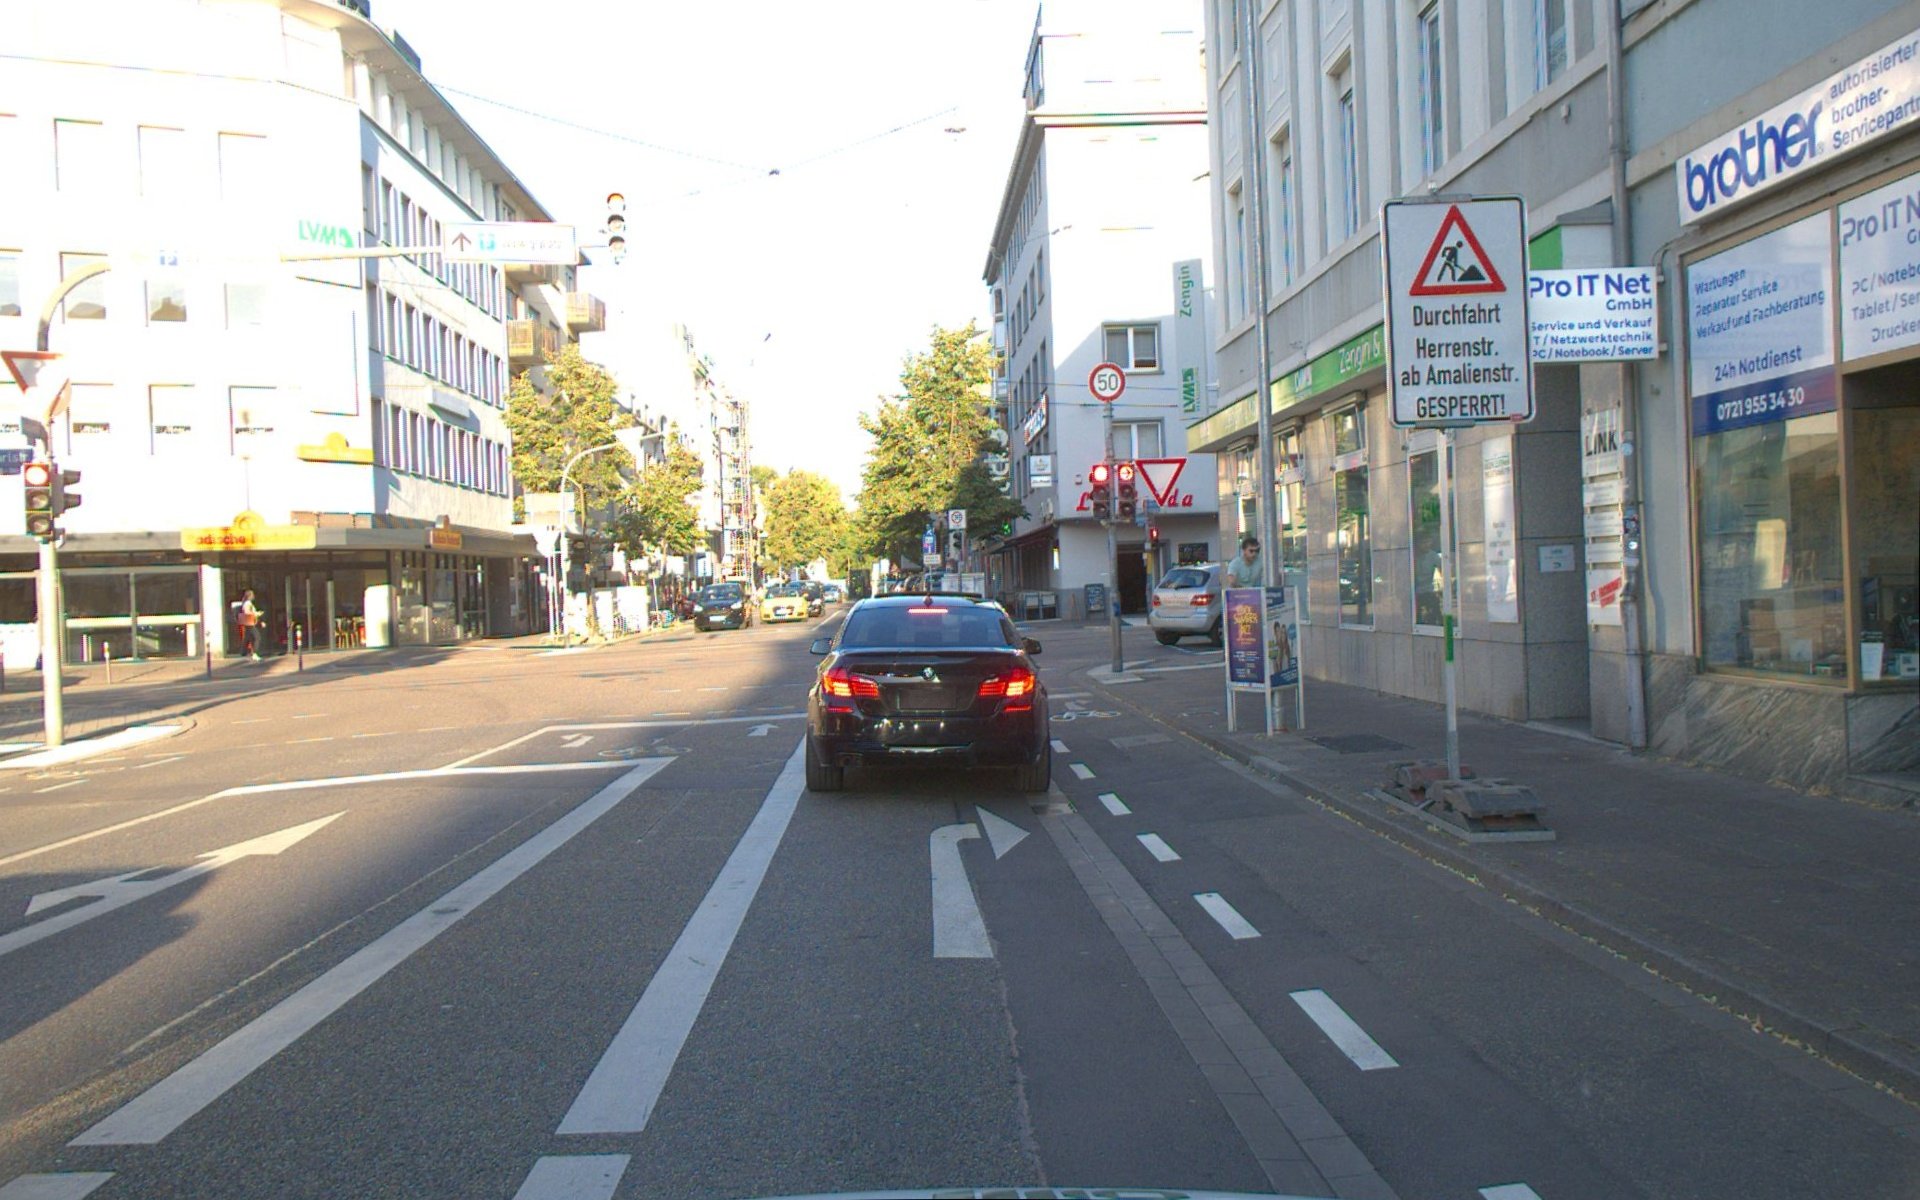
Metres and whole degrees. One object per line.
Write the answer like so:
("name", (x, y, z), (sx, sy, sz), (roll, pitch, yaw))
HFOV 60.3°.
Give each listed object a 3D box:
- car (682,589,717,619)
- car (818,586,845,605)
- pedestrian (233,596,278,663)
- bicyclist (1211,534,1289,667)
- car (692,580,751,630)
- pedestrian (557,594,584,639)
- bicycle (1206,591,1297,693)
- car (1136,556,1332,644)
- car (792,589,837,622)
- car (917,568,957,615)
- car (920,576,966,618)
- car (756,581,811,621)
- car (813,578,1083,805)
("car", (-13.558, 0.182, 86.230), (1.701, 1.487, 3.993), (-2, 1, -8))
("car", (-9.538, -0.363, 122.732), (1.701, 1.315, 3.993), (-2, 1, -8))
("pedestrian", (-17.134, 0.707, 40.219), (0.934, 1.564, 0.901), (-2, 0, -26))
("bicyclist", (3.464, 0.004, 19.803), (0.707, 1.534, 0.899), (-2, 0, -1))
("car", (-8.565, 0.159, 59.520), (1.956, 1.646, 3.993), (-2, 1, -8))
("pedestrian", (-15.357, 0.637, 65.253), (0.807, 1.705, 0.871), (-2, 0, -3))
("bicycle", (3.470, 0.475, 19.844), (0.676, 1.126, 1.895), (-2, 1, -2))
("car", (5.589, -0.028, 33.472), (4.067, 1.603, 1.810), (-3, 1, -43))
("car", (-6.345, 0.230, 71.806), (1.701, 1.315, 3.993), (-2, 1, -8))
("car", (-0.951, -0.346, 68.464), (1.393, 1.887, 3.049), (-1, 0, -5))
("car", (-0.655, -0.121, 62.070), (1.593, 1.497, 3.393), (-1, 0, -3))
("car", (-6.971, 0.031, 65.017), (1.956, 1.467, 3.993), (-2, 1, -8))
("car", (-0.205, 0.614, 13.735), (1.866, 1.567, 4.447), (1, 1, -3))
